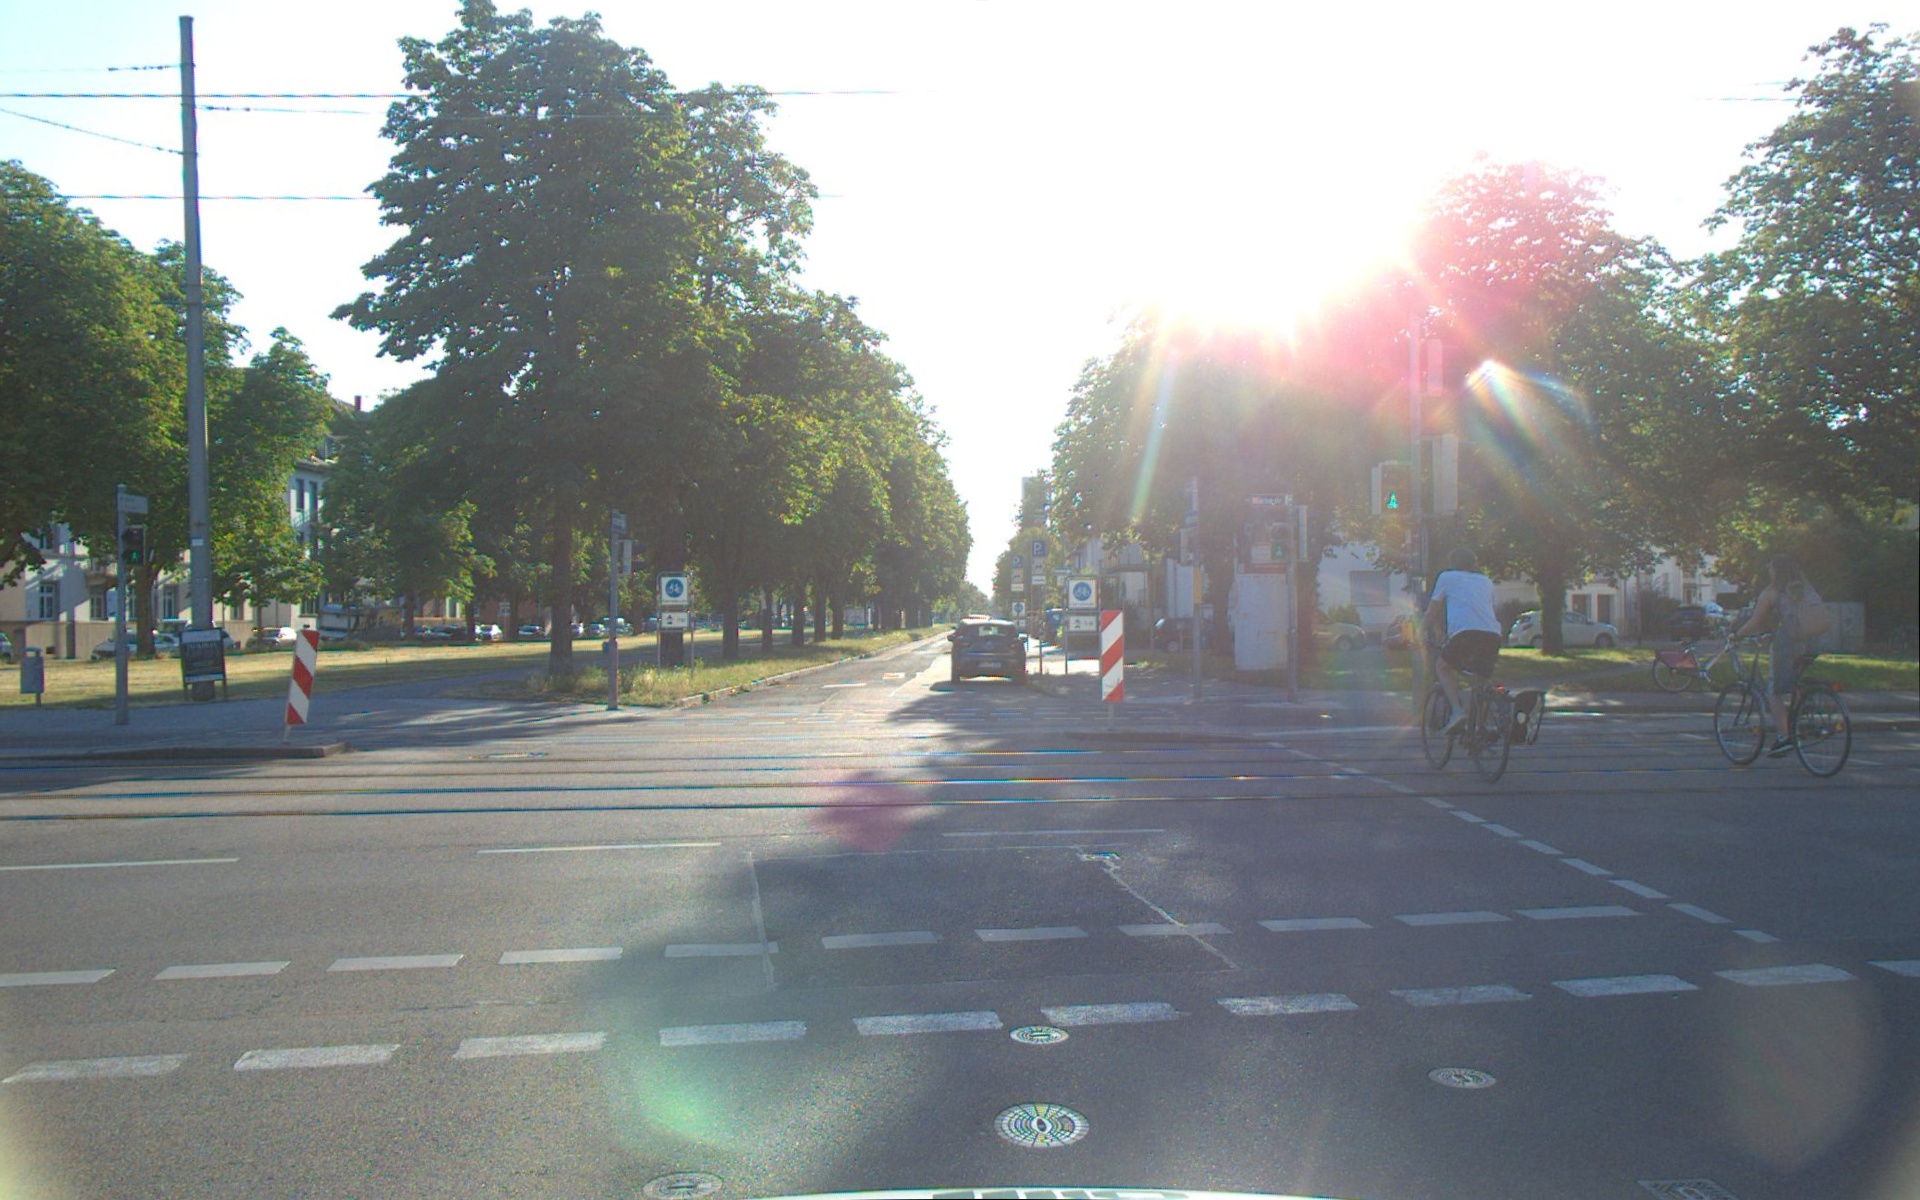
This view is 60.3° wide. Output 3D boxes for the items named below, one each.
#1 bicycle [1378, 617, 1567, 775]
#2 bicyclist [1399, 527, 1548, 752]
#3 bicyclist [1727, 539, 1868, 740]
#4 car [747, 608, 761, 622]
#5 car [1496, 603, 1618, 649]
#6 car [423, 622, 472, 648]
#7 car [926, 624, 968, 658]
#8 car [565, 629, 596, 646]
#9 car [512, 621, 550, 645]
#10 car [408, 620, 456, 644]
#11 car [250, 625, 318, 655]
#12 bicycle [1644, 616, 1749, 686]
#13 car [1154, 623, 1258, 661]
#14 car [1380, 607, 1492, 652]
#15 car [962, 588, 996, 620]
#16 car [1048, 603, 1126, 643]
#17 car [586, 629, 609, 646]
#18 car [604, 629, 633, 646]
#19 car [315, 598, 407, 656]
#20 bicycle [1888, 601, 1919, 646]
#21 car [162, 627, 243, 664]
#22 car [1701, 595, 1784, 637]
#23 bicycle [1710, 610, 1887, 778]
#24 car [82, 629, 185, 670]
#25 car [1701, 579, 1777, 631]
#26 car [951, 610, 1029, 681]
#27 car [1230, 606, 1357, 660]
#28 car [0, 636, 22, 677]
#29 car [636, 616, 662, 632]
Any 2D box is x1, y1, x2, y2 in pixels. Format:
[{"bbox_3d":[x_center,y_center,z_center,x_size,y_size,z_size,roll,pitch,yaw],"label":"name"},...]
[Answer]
[{"bbox_3d":[4.179,0.755,13.637,0.563,1.205,1.898,2,-1,-14],"label":"bicycle"},{"bbox_3d":[4.207,0.329,13.588,0.801,1.762,0.890,2,-2,-15],"label":"bicyclist"},{"bbox_3d":[6.907,0.326,13.675,0.698,1.590,0.893,1,-2,-1],"label":"bicyclist"},{"bbox_3d":[-31.093,2.254,249.692,1.620,1.972,3.567,1,-3,0],"label":"car"},{"bbox_3d":[21.418,0.946,59.404,3.844,1.551,1.522,1,-3,-4],"label":"car"},{"bbox_3d":[-34.862,2.373,112.642,1.840,1.703,4.315,1,-2,1],"label":"car"},{"bbox_3d":[-0.546,1.801,72.644,1.674,1.383,4.203,1,-2,1],"label":"car"},{"bbox_3d":[-38.776,3.860,168.910,1.952,1.688,4.356,1,-2,2],"label":"car"},{"bbox_3d":[-34.427,2.686,132.856,1.774,1.812,4.122,1,-2,2],"label":"car"},{"bbox_3d":[-39.268,2.404,123.078,1.952,1.688,4.375,1,-2,2],"label":"car"},{"bbox_3d":[-40.452,2.402,99.056,1.952,1.688,4.571,1,-2,2],"label":"car"},{"bbox_3d":[11.912,0.818,26.773,1.492,1.108,0.467,-1,-2,-3],"label":"bicycle"},{"bbox_3d":[9.770,1.692,65.994,3.905,1.472,1.716,0,-2,0],"label":"car"},{"bbox_3d":[16.891,1.049,58.748,3.484,1.542,1.604,0,-1,-5],"label":"car"},{"bbox_3d":[1.104,0.262,98.125,1.953,1.813,4.000,1,0,0],"label":"car"},{"bbox_3d":[6.698,1.229,87.647,3.908,1.854,1.758,-1,-7,-4],"label":"car"},{"bbox_3d":[-38.742,4.009,176.780,1.606,1.672,3.853,1,-2,-1],"label":"car"},{"bbox_3d":[-33.753,3.714,163.575,1.981,1.688,3.984,1,-2,1],"label":"car"},{"bbox_3d":[-35.086,1.586,97.176,2.343,3.186,7.853,2,-1,1],"label":"car"},{"bbox_3d":[26.675,0.647,46.053,0.440,1.260,1.953,-1,-1,-3],"label":"bicycle"},{"bbox_3d":[-35.405,2.114,77.464,1.759,1.581,4.418,2,0,-1],"label":"car"},{"bbox_3d":[31.009,0.625,65.481,1.964,1.579,3.977,-1,-1,41],"label":"car"},{"bbox_3d":[6.916,0.734,13.747,0.481,1.204,1.965,1,2,1],"label":"bicycle"},{"bbox_3d":[-35.720,2.144,71.631,1.952,1.688,4.571,1,-2,2],"label":"car"},{"bbox_3d":[38.443,0.273,81.576,2.077,2.378,4.487,0,-2,44],"label":"car"},{"bbox_3d":[0.757,1.067,38.846,1.689,1.537,4.541,1,-2,2],"label":"car"},{"bbox_3d":[11.916,1.197,59.357,4.154,1.908,2.030,0,-2,0],"label":"car"},{"bbox_3d":[-41.282,2.342,68.915,1.952,1.688,4.001,1,-2,2],"label":"car"},{"bbox_3d":[-34.474,2.621,183.285,1.952,1.688,4.570,-1,-1,0],"label":"car"}]
